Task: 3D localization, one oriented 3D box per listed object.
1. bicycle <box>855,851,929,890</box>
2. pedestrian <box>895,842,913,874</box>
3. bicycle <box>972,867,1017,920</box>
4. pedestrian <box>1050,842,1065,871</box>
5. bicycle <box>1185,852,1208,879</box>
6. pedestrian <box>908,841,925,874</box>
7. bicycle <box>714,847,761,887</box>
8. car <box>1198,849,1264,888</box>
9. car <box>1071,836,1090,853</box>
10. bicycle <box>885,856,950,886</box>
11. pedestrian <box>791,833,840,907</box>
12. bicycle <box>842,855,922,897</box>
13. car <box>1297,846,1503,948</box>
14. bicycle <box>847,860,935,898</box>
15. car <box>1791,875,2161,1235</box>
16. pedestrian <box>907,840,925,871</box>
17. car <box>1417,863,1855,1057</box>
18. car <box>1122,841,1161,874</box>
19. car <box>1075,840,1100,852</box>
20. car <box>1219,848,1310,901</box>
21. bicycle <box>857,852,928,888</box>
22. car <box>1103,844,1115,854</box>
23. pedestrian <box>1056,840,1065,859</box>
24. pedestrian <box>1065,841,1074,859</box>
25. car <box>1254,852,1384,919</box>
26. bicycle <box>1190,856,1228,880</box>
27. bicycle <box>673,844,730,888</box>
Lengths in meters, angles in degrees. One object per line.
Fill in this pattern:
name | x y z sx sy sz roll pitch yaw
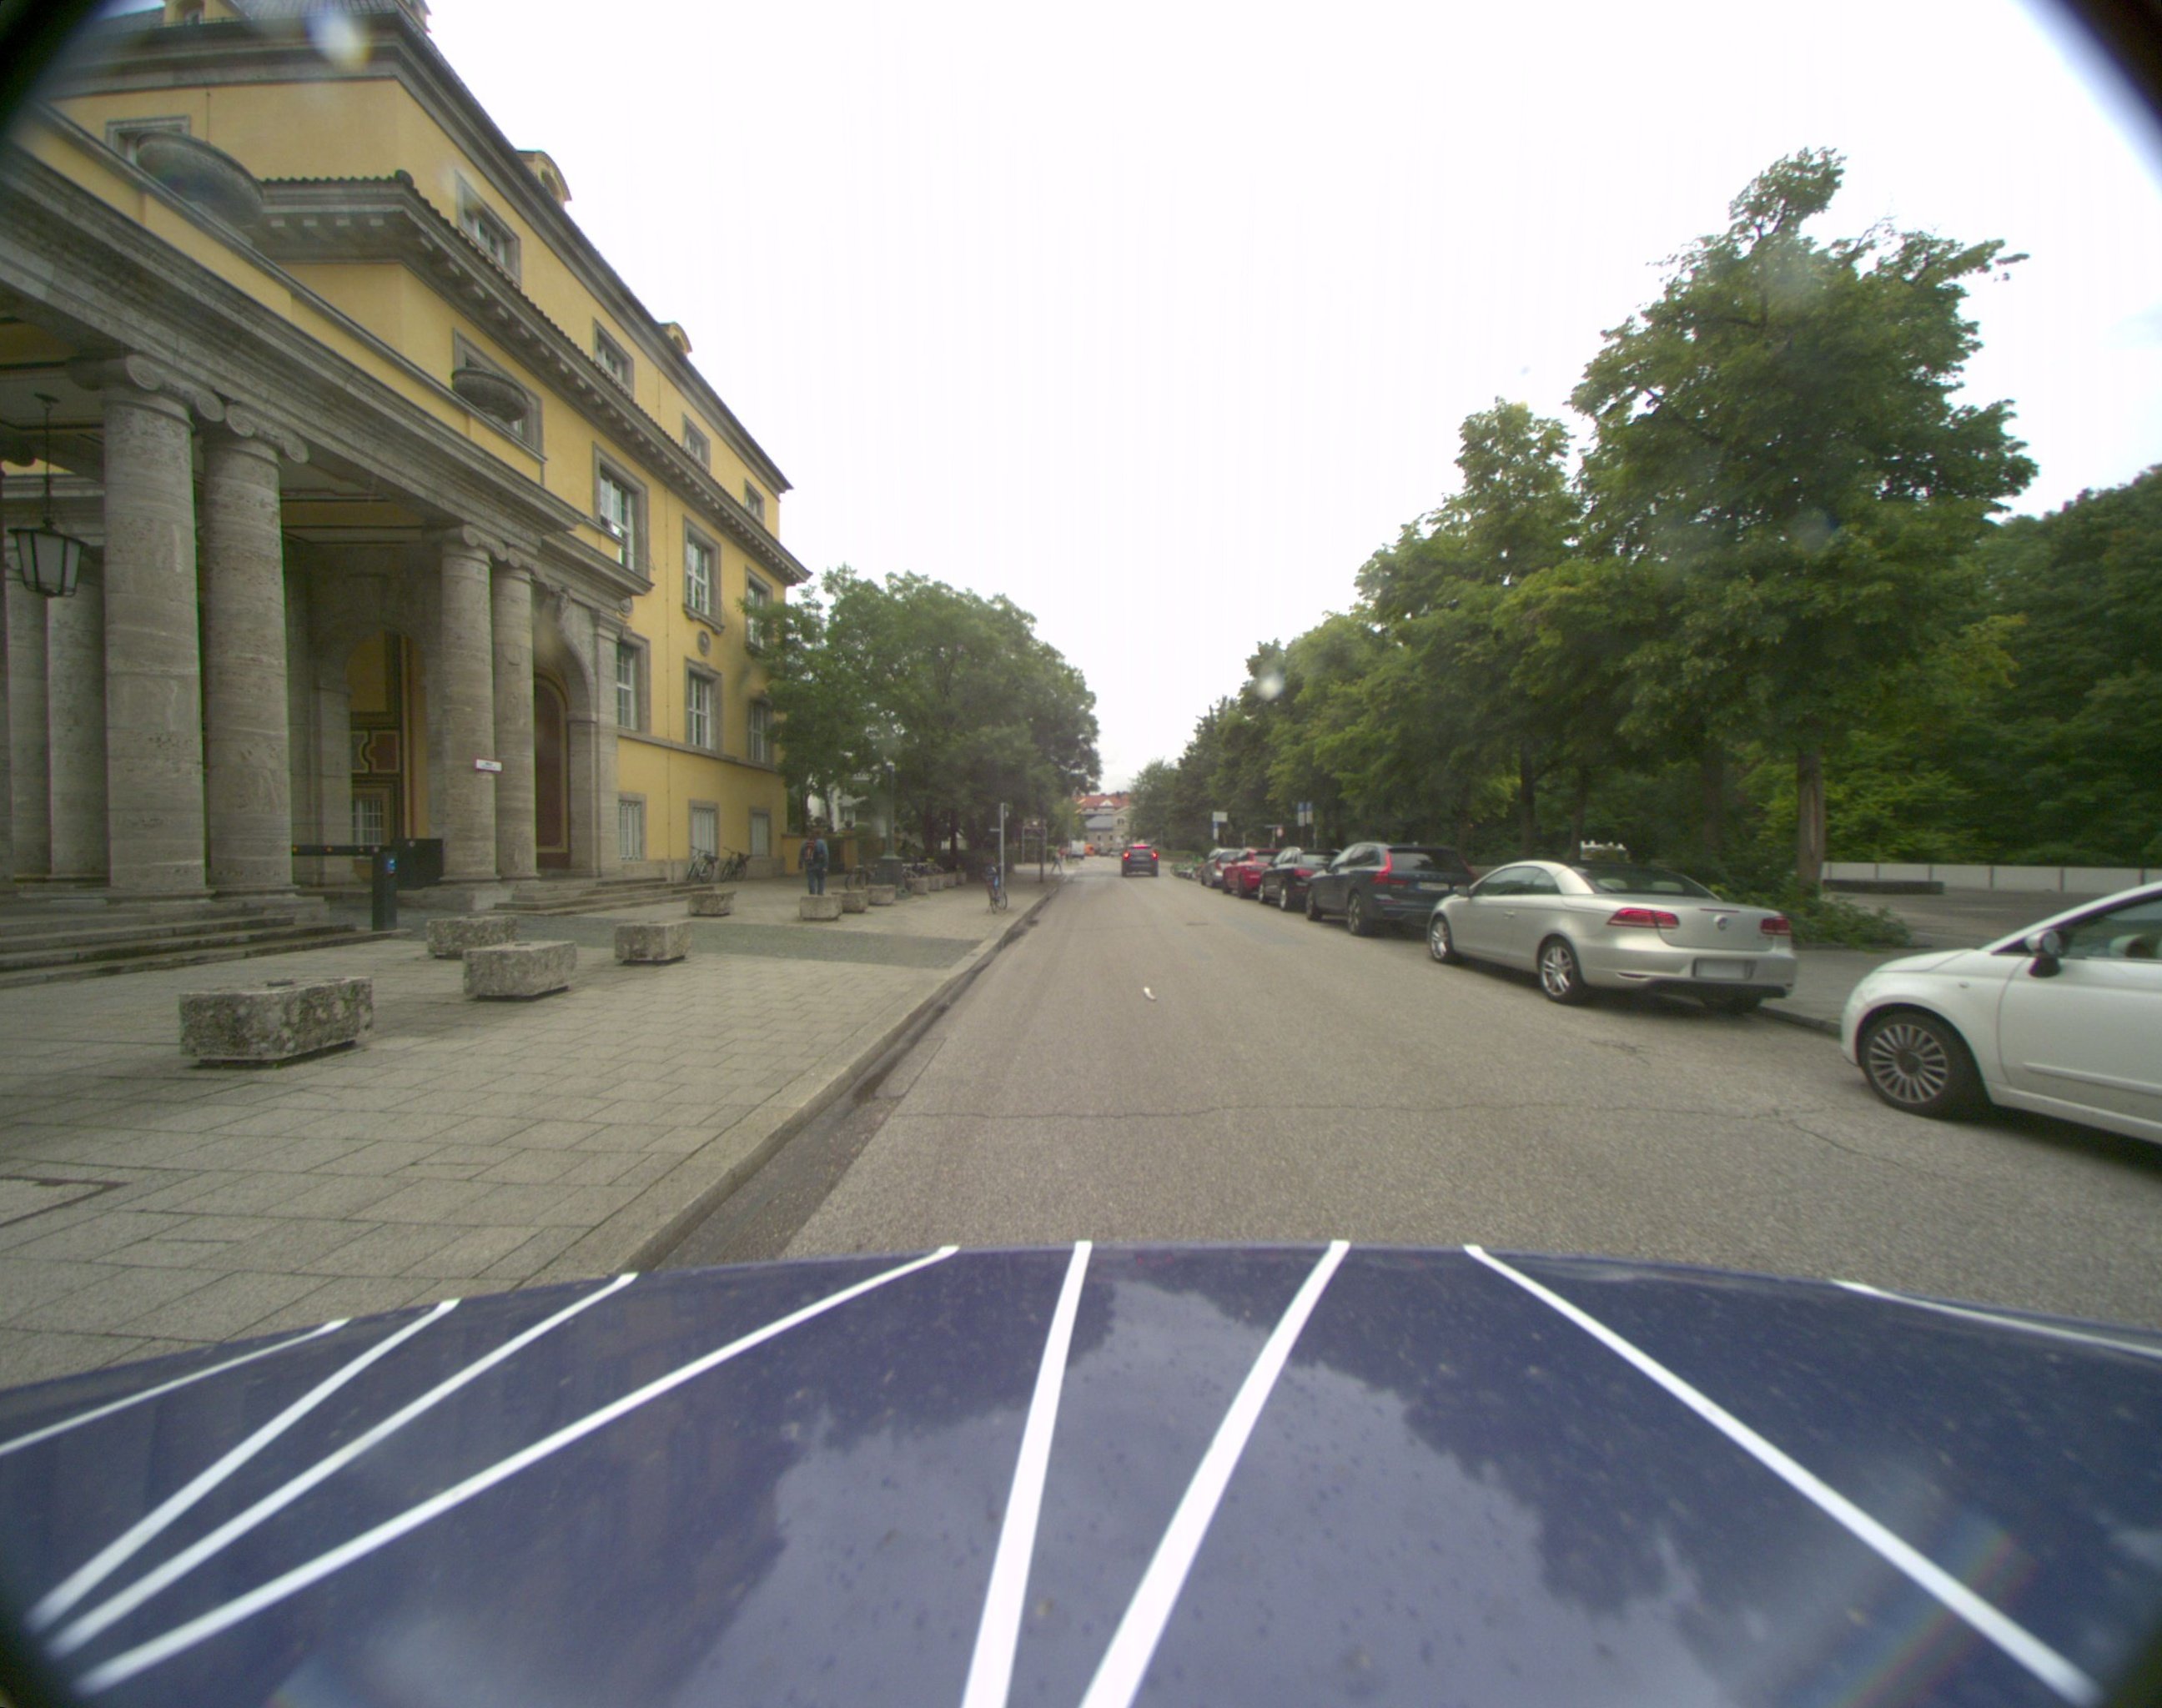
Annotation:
bicycle | -6.232 0.546 25.134 2.265 1.053 0.601 5 1 -10
pedestrian | -10.154 0.222 43.630 0.741 1.734 0.841 3 2 1
bicycle | -2.034 0.907 18.129 0.762 1.094 2.263 2 1 0
pedestrian | -1.445 0.162 46.366 0.798 1.722 0.660 -3 2 0
bicycle | 5.791 0.568 37.981 0.574 1.275 1.421 -1 1 34
pedestrian | -9.438 0.173 43.595 0.659 1.855 0.821 3 2 1
bicycle | -11.864 0.433 26.313 0.601 1.299 2.165 1 1 1
car | 6.038 0.530 31.056 1.998 1.452 4.364 1 1 2
car | -0.047 -1.331 106.604 2.236 2.289 4.728 -3 1 -4
bicycle | -6.057 0.625 28.200 2.261 1.005 0.602 2 1 3
pedestrian | -6.362 0.363 18.248 0.790 1.736 1.055 1 1 1
bicycle | -6.080 0.663 23.339 2.265 1.088 0.601 5 1 -10
car | 5.647 0.660 14.184 1.998 1.574 4.521 1 1 1
bicycle | -5.514 0.729 22.155 2.370 1.000 0.677 2 1 -8
car | 5.393 0.912 3.154 1.547 1.462 3.552 2 1 1
pedestrian | -10.125 0.095 46.544 0.782 1.855 1.035 3 2 1
car | 5.453 0.886 8.312 1.762 1.392 4.217 3 1 3
car | 3.362 0.166 42.084 1.964 1.672 4.913 2 1 5
car | 1.403 -1.821 169.450 4.973 2.521 2.577 -1 2 45
car | 5.793 0.588 24.520 1.998 1.535 4.364 1 1 2
bicycle | -6.435 0.540 26.050 2.265 1.018 0.601 5 1 -10
car | 5.616 -1.039 152.883 2.221 1.840 4.730 -3 1 1
pedestrian | -2.109 -0.490 77.951 0.777 1.855 0.996 -3 2 -7
pedestrian | -1.144 -0.407 78.020 0.777 1.855 0.997 -3 2 -5
car | 5.870 0.693 19.406 1.998 1.452 4.647 1 1 2
bicycle | 6.116 0.663 36.449 1.700 1.101 0.598 -1 2 -7
bicycle | -11.917 0.353 23.954 0.601 1.299 2.264 1 1 1
